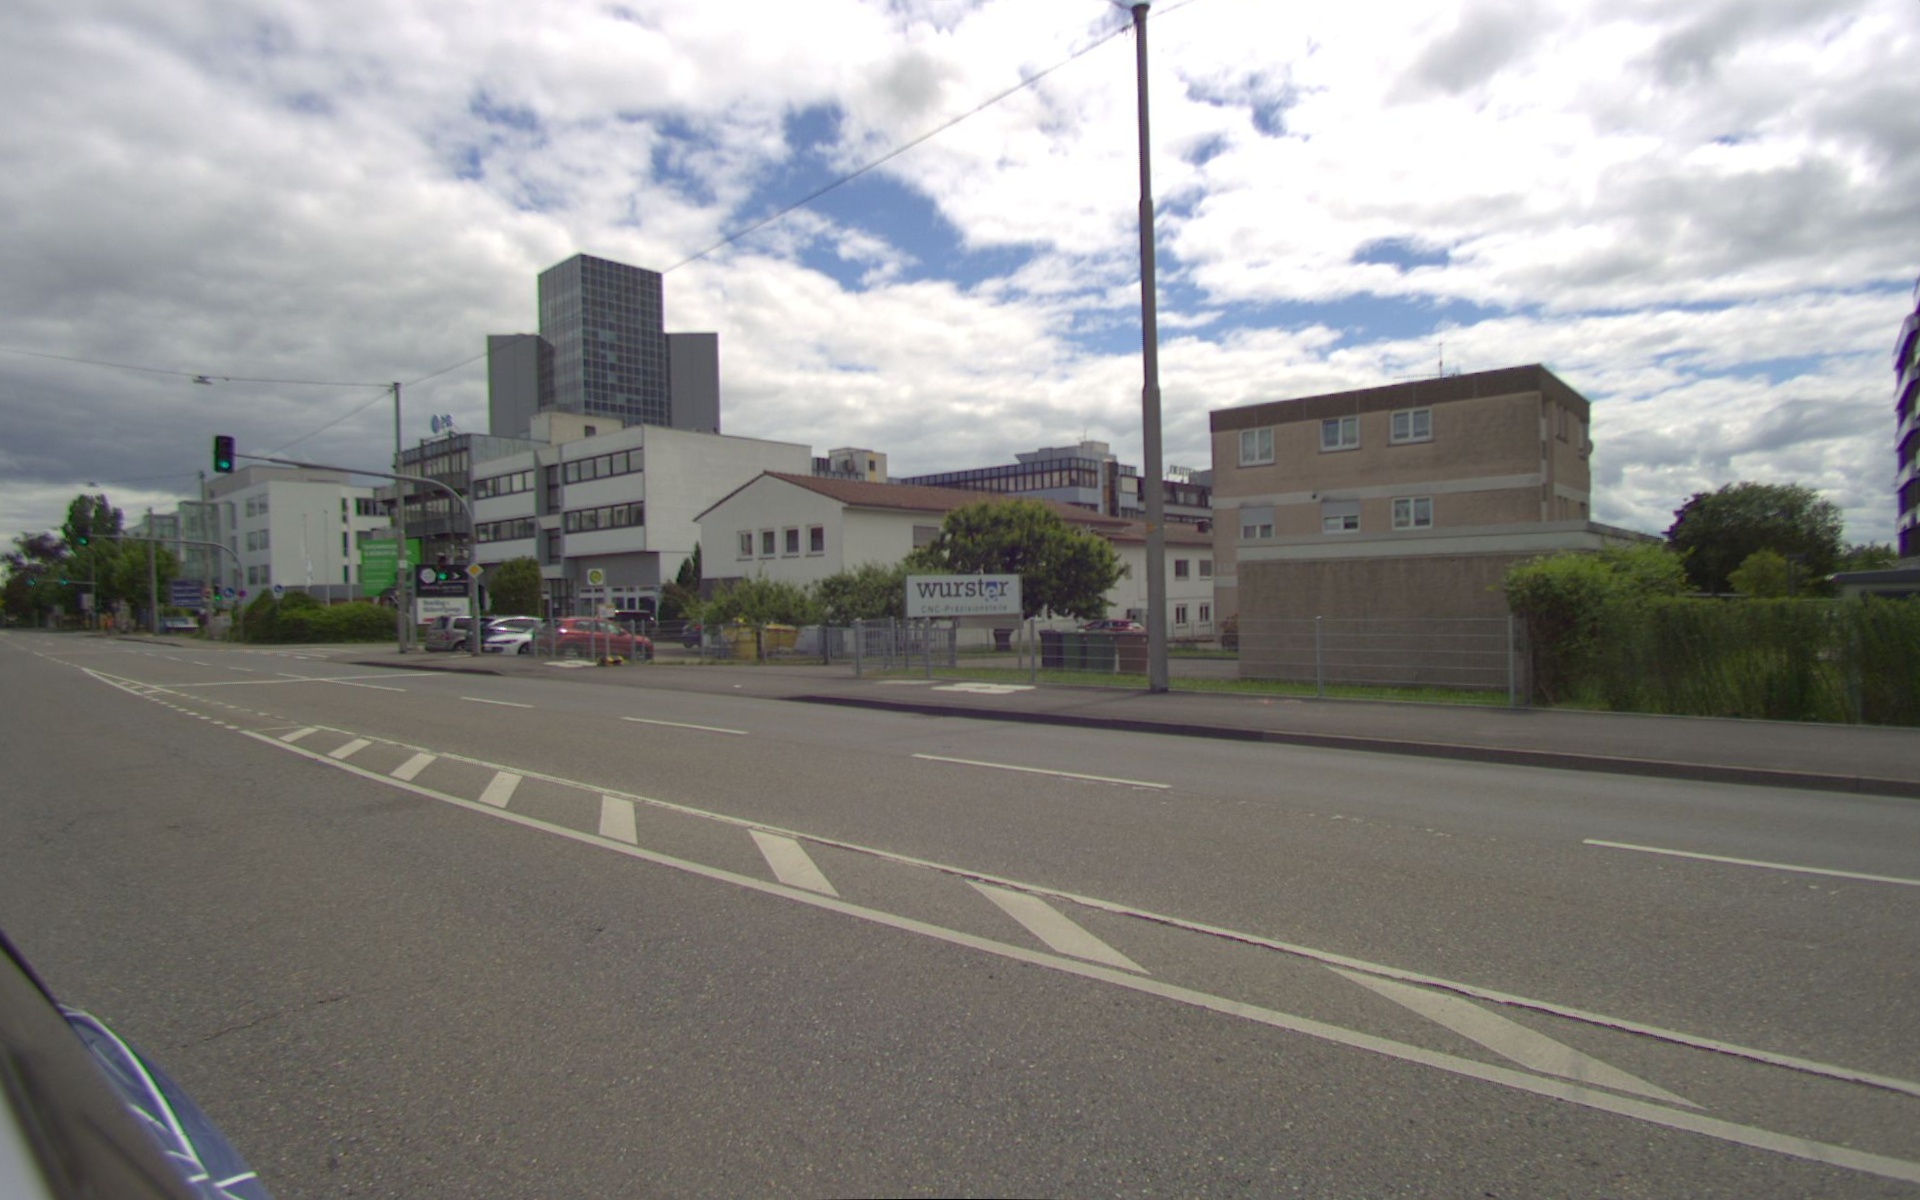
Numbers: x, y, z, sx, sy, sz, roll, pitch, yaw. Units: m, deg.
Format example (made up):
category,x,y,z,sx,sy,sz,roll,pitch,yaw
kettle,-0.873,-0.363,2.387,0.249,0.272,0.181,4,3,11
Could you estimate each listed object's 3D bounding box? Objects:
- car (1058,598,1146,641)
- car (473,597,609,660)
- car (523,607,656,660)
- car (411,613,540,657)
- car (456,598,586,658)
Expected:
category,x,y,z,sx,sy,sz,roll,pitch,yaw
car,6.942,0.921,49.658,3.989,2.029,1.623,-1,0,34
car,-14.489,0.939,35.122,1.919,2.029,3.945,-1,0,41
car,-12.242,1.082,33.589,1.834,1.623,3.755,-2,-1,38
car,-18.278,1.314,38.305,1.823,1.342,3.947,-3,1,41
car,-16.011,0.970,37.038,1.903,2.029,3.945,-1,0,41
